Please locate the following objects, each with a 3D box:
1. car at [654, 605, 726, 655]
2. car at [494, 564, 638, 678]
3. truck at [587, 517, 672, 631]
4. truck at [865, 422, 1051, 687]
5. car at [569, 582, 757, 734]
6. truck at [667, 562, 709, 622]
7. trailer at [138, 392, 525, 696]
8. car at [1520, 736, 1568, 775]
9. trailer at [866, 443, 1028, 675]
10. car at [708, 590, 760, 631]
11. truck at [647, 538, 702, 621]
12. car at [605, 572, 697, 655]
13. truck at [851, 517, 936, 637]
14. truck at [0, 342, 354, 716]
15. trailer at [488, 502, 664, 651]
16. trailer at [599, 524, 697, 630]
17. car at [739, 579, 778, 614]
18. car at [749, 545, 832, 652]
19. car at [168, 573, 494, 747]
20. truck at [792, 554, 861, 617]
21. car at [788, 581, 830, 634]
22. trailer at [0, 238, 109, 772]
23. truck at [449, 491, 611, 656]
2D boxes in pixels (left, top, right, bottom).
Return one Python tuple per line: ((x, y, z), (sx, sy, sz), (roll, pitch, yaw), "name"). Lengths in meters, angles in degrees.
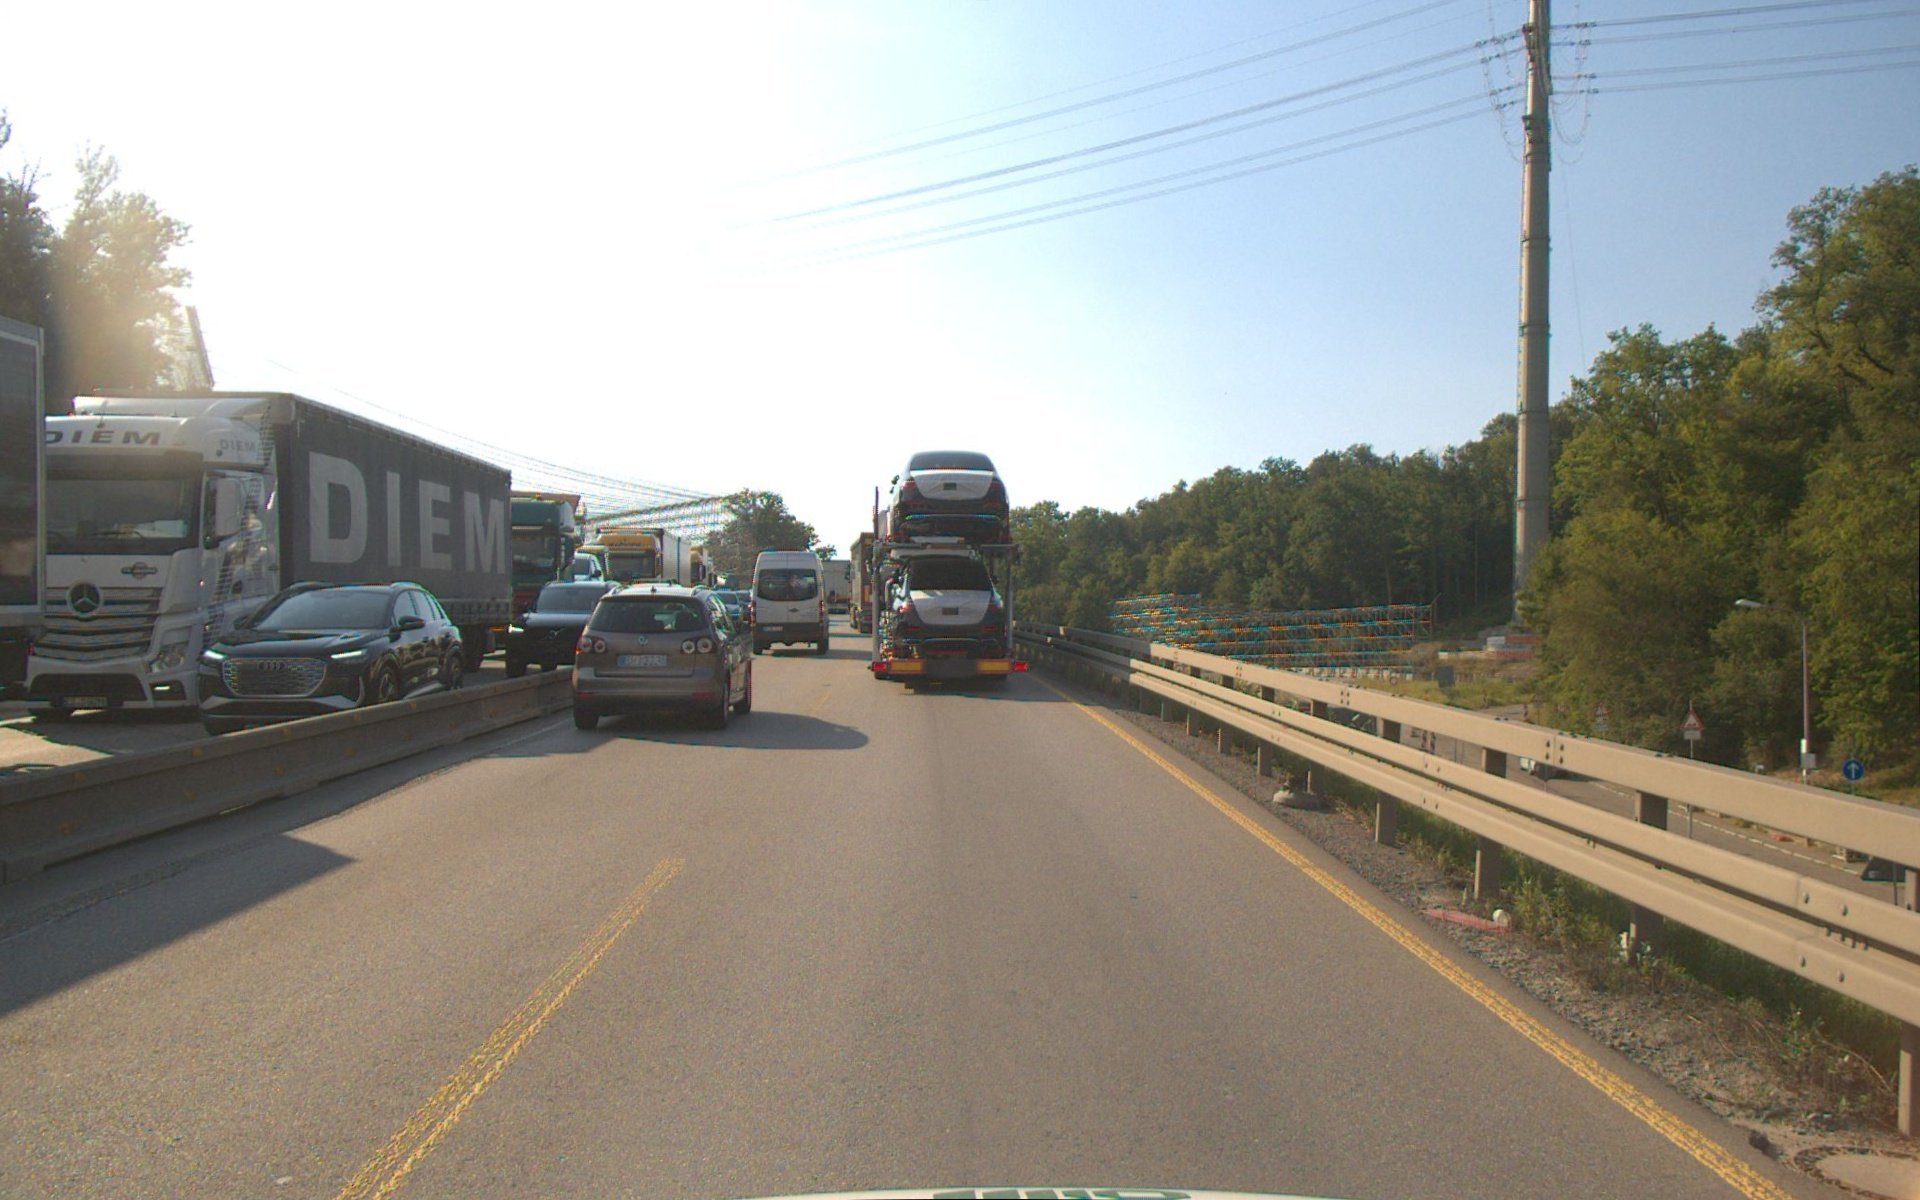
((-8.895, 0.964, 54.780), (1.767, 1.548, 4.814), (-2, 0, -3), "car")
((-7.416, 0.409, 31.594), (1.796, 1.998, 4.896), (0, -1, -3), "car")
((-12.799, -0.933, 64.405), (2.649, 4.213, 5.787), (0, -1, -5), "truck")
((-0.175, -0.669, 28.180), (2.813, 4.050, 5.767), (0, -1, -3), "truck")
((-3.443, 0.649, 19.846), (1.667, 1.615, 4.144), (0, -1, -2), "car")
((-19.582, -0.469, 119.703), (2.757, 4.040, 13.865), (1, -1, -8), "truck")
((-10.414, -0.762, 29.354), (2.661, 4.195, 12.484), (-1, 0, -3), "trailer")
((27.415, 7.279, 77.701), (1.493, 1.486, 4.271), (-1, -1, 11), "car")
((-0.619, -0.627, 36.653), (2.817, 4.064, 15.269), (0, -1, -3), "trailer")
((-9.457, 0.459, 69.439), (1.921, 1.673, 4.843), (0, -1, -5), "car")
((-15.099, -1.040, 87.764), (2.642, 4.270, 4.391), (0, -1, -7), "truck")
((-8.007, 0.375, 43.234), (1.788, 1.967, 5.124), (-3, -1, -5), "car")
((-3.027, -0.977, 71.423), (3.165, 4.758, 11.683), (0, 1, -5), "truck")
((-9.942, -0.805, 21.209), (2.695, 4.187, 5.026), (-1, 0, -4), "truck")
((-11.528, -0.587, 51.493), (2.694, 3.882, 16.034), (-1, 0, -4), "trailer")
((-13.668, -0.801, 73.742), (2.662, 4.207, 16.732), (0, -1, -5), "trailer")
((-10.578, -0.150, 87.004), (1.889, 1.731, 4.686), (0, -1, -5), "car")
((-4.509, -0.018, 44.466), (1.939, 2.731, 4.145), (0, -1, -2), "car")
((-6.920, 0.607, 18.897), (1.839, 1.633, 5.365), (-2, 0, -3), "car")
((-10.694, -1.168, 131.298), (3.587, 4.758, 11.652), (0, 1, -14), "truck")
((-6.107, 0.330, 67.172), (1.498, 2.049, 3.997), (2, -1, -4), "car")
((-9.560, -0.834, 12.301), (2.852, 4.544, 7.149), (1, -1, -2), "trailer")
((-10.956, -0.622, 42.805), (2.695, 3.872, 7.106), (-1, 0, -4), "truck")
